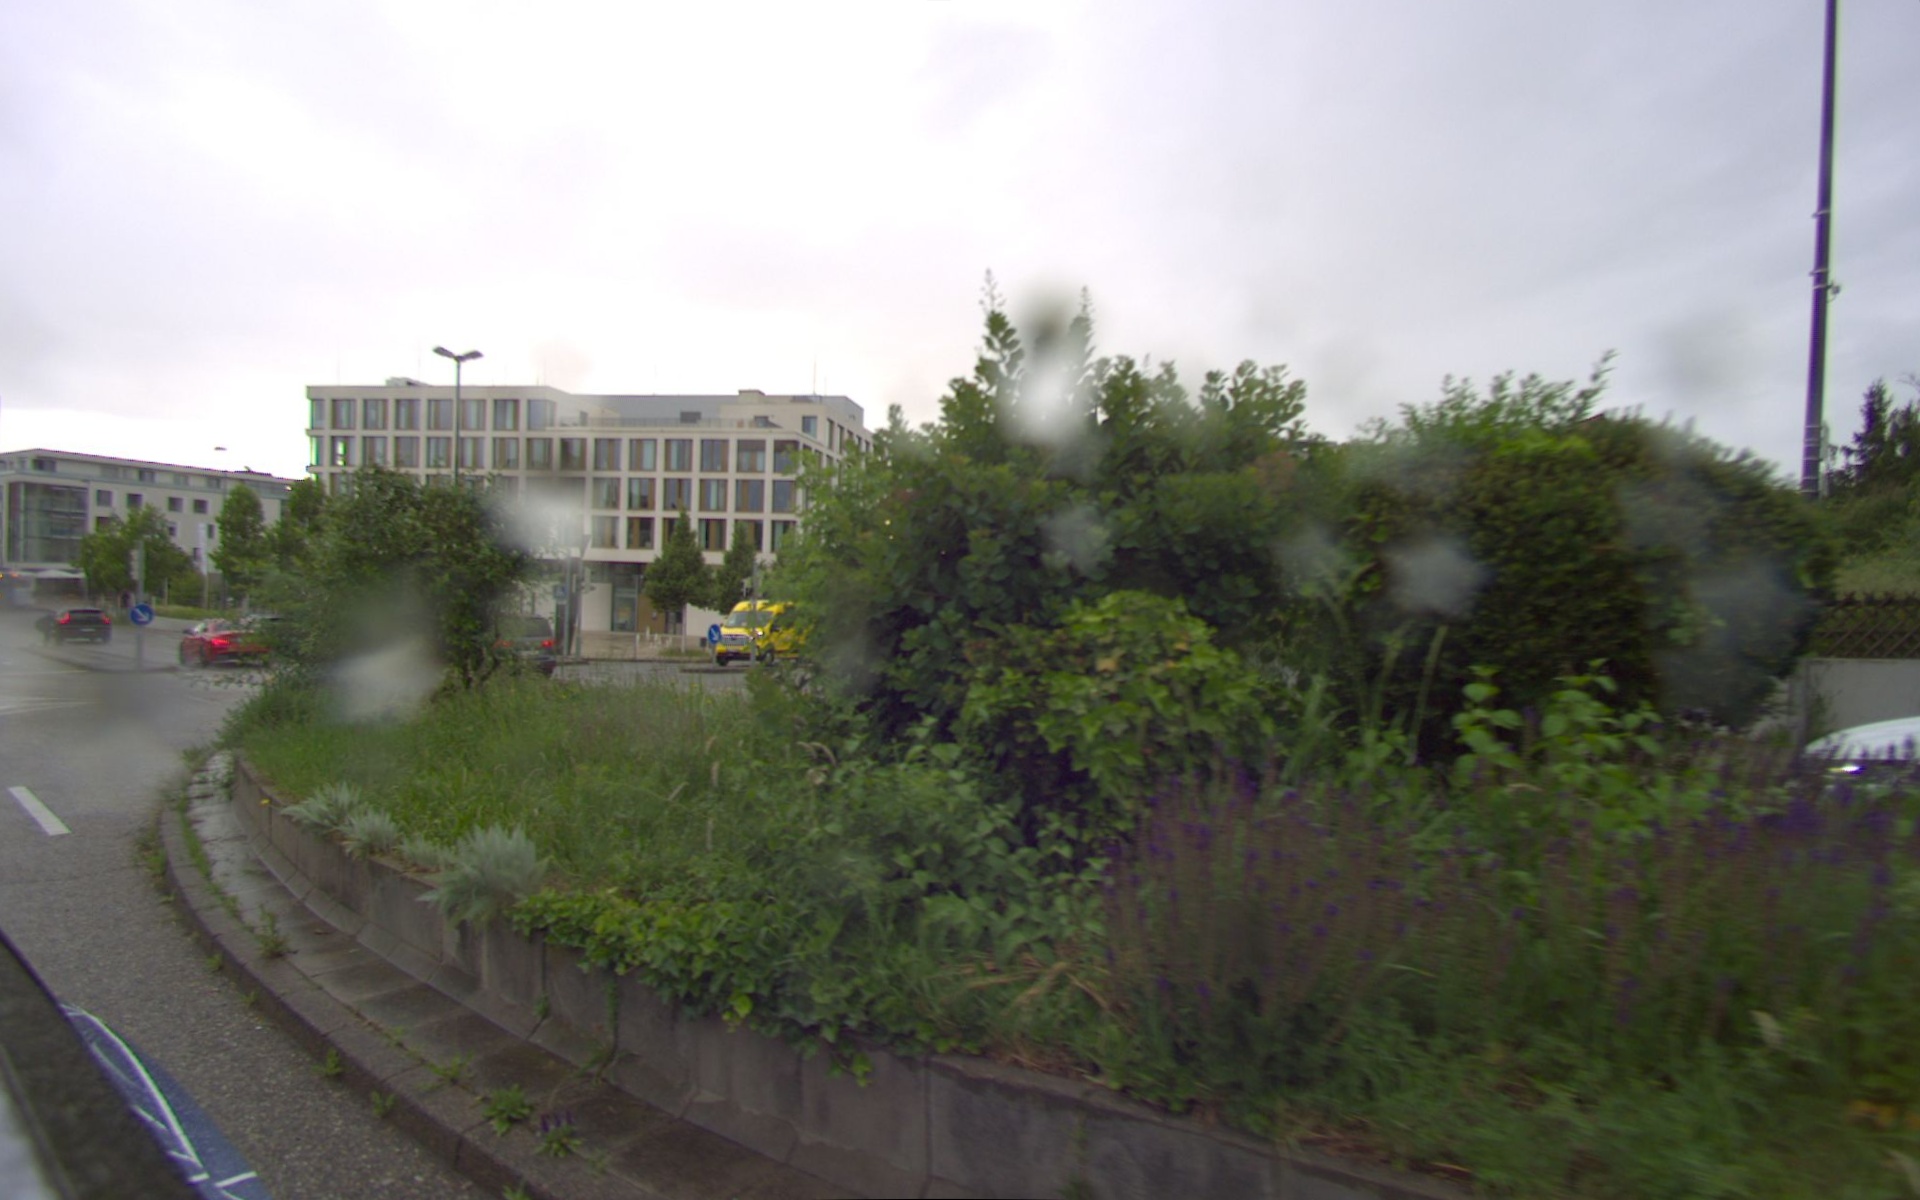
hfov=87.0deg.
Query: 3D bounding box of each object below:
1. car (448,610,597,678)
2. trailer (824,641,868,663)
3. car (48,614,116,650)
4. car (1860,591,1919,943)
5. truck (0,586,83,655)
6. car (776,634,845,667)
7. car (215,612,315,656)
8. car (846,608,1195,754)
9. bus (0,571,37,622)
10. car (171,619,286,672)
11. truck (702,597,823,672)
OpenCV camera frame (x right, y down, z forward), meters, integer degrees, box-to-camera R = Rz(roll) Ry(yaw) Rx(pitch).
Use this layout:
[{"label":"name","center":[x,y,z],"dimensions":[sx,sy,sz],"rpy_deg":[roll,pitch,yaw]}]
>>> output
[{"label":"car","center":[-11.116,1.061,25.625],"dimensions":[3.999,1.590,1.972],"rpy_deg":[-1,-2,42]},{"label":"trailer","center":[-5.666,2.578,50.402],"dimensions":[1.590,0.986,2.279],"rpy_deg":[1,-2,10]},{"label":"car","center":[-40.510,1.457,46.662],"dimensions":[4.074,1.564,1.882],"rpy_deg":[0,-1,42]},{"label":"car","center":[6.784,0.793,4.151],"dimensions":[4.597,1.674,1.972],"rpy_deg":[-1,-2,42]},{"label":"truck","center":[-35.327,0.721,38.656],"dimensions":[6.200,2.458,2.140],"rpy_deg":[0,0,43]},{"label":"car","center":[-6.671,2.253,45.670],"dimensions":[1.844,1.327,4.343],"rpy_deg":[1,-2,9]},{"label":"car","center":[-25.751,1.237,37.461],"dimensions":[4.293,1.489,1.930],"rpy_deg":[0,-3,40]},{"label":"car","center":[0.695,0.972,13.922],"dimensions":[4.597,1.674,1.972],"rpy_deg":[-1,-2,42]},{"label":"bus","center":[-83.299,-0.307,86.666],"dimensions":[18.199,4.025,2.916],"rpy_deg":[0,-2,37]},{"label":"car","center":[-22.386,1.324,30.912],"dimensions":[4.430,1.424,1.972],"rpy_deg":[0,0,42]},{"label":"truck","center":[-7.336,1.318,38.478],"dimensions":[2.206,2.557,6.151],"rpy_deg":[1,-2,12]}]
